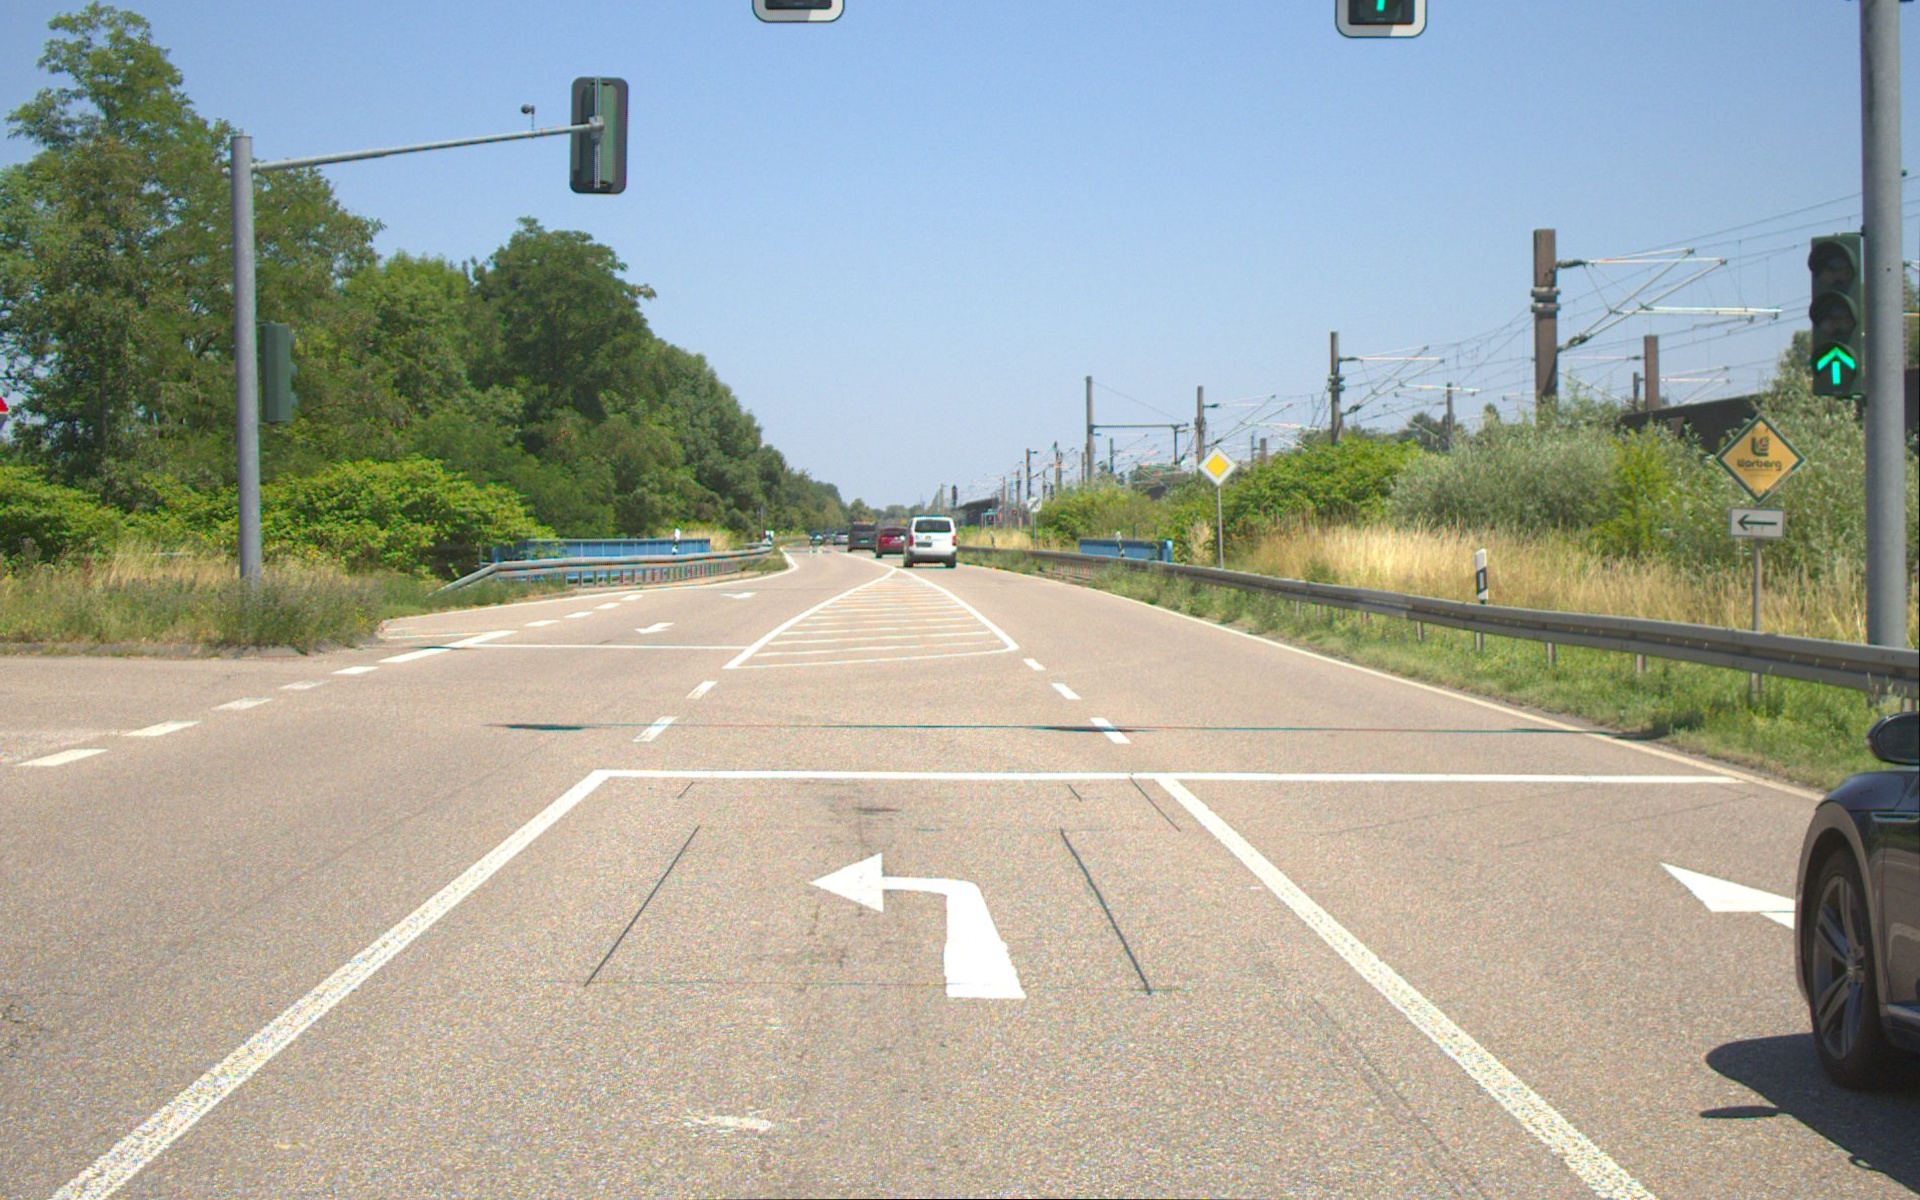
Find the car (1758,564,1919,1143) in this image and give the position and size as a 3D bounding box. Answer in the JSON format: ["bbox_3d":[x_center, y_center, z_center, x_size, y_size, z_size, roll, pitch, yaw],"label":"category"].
[{"bbox_3d":[3.289,0.663,7.519,1.856,1.375,4.504,1,1,-2],"label":"car"}]

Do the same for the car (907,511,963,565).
[{"bbox_3d":[-0.972,-2.392,131.514,1.993,1.977,4.060,1,1,-2],"label":"car"}]

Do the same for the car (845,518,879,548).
[{"bbox_3d":[-6.681,-4.578,234.166,2.154,1.961,4.544,0,1,-3],"label":"car"}]

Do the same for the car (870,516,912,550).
[{"bbox_3d":[-3.551,-3.454,177.135,2.019,1.720,4.544,0,1,-3],"label":"car"}]
